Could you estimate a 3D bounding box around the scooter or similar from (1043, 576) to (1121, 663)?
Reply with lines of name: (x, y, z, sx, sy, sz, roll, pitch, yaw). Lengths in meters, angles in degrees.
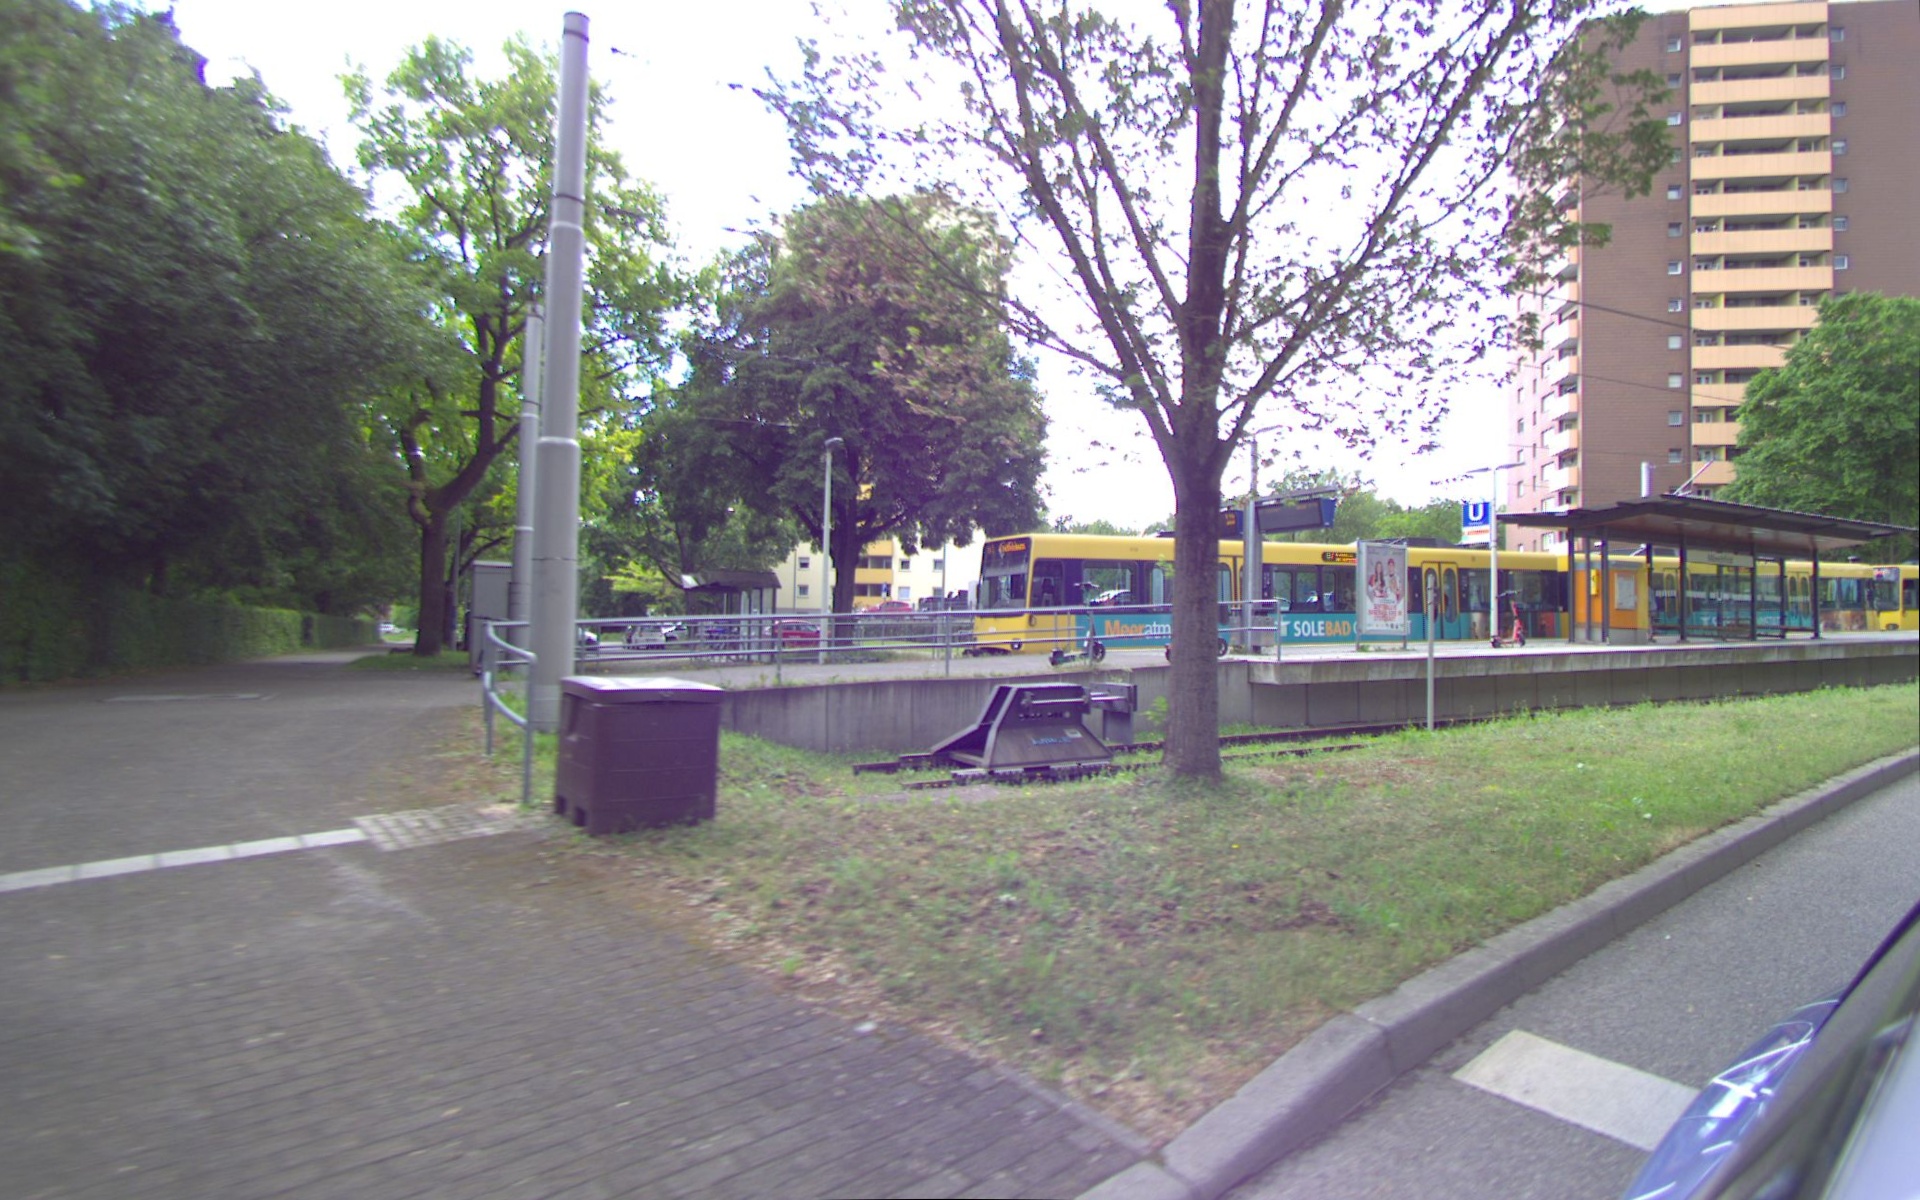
scooter or similar: (1.891, 0.285, 15.612, 1.232, 1.269, 0.431, -2, 1, -38)

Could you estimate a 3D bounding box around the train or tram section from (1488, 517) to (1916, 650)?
train or tram section: (25.687, -0.388, 34.252, 19.109, 3.786, 2.826, 0, -2, -25)

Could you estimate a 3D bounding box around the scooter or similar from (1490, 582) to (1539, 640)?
scooter or similar: (12.145, 0.240, 22.162, 1.122, 1.258, 0.370, 0, -1, -26)

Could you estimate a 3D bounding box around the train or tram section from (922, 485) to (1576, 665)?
train or tram section: (8.330, -0.414, 25.878, 19.112, 3.635, 2.826, 0, -2, -26)

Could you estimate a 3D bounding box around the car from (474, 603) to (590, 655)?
car: (-17.842, 1.165, 42.211, 4.360, 2.039, 1.908, 0, 1, -26)

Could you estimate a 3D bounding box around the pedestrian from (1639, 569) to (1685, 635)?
pedestrian: (17.085, 0.048, 24.638, 0.651, 1.593, 0.625, -1, -1, -8)

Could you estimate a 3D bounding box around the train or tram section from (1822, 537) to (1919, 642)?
train or tram section: (43.200, -0.338, 41.871, 18.535, 3.848, 2.827, 0, -2, -21)

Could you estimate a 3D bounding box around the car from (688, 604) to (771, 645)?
car: (-12.108, 1.274, 53.215, 3.918, 2.039, 1.908, 0, 1, -26)

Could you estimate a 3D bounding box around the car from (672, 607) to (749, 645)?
car: (-14.133, 1.452, 57.314, 3.918, 2.039, 1.908, 0, 1, -26)

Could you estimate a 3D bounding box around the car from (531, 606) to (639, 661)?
car: (-15.003, 1.289, 40.501, 3.918, 2.039, 1.908, 0, 1, -26)

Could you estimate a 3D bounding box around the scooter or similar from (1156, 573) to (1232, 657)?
scooter or similar: (3.705, 0.217, 15.986, 1.231, 1.269, 0.431, -2, 1, -35)

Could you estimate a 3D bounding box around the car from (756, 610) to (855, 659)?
car: (-6.849, 1.490, 44.868, 3.918, 2.039, 1.908, 0, 1, -26)
